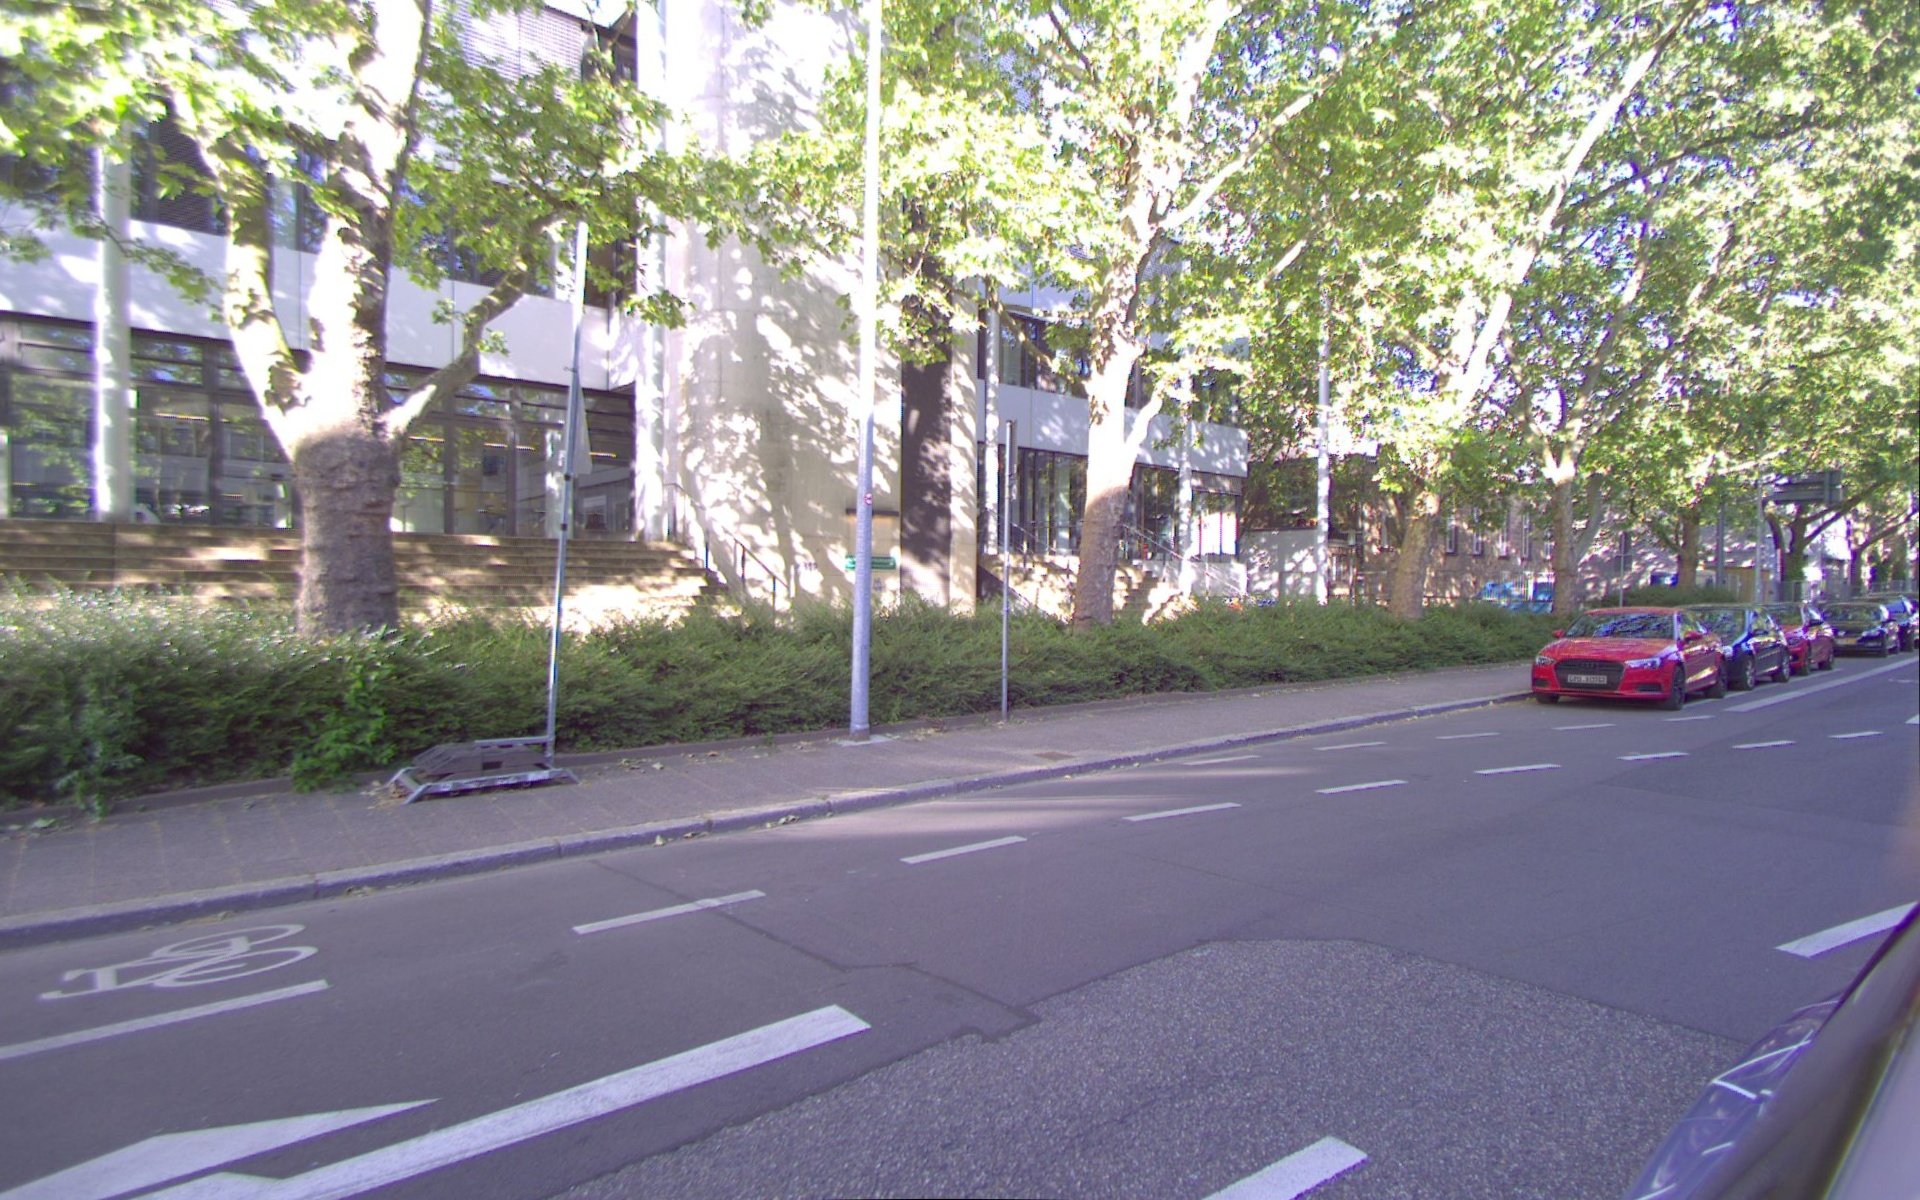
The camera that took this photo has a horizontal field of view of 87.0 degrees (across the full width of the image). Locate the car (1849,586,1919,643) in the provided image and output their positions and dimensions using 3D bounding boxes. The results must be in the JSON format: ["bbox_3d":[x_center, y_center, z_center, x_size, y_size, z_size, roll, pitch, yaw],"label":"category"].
[{"bbox_3d":[28.474,0.412,30.787,3.778,1.607,1.634,0,-1,-41],"label":"car"}]

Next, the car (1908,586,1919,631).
[{"bbox_3d":[37.827,0.306,38.905,3.778,1.675,1.634,0,-1,-41],"label":"car"}]

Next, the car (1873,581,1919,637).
[{"bbox_3d":[32.723,0.281,34.706,3.778,1.828,1.634,0,-1,-41],"label":"car"}]

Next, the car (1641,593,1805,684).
[{"bbox_3d":[13.838,0.627,18.290,3.675,1.483,1.634,0,-1,-41],"label":"car"}]

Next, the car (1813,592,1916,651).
[{"bbox_3d":[24.718,0.546,27.611,3.675,1.483,1.634,0,-1,-41],"label":"car"}]

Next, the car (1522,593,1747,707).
[{"bbox_3d":[10.231,0.651,15.248,4.053,1.483,1.802,0,-1,-41],"label":"car"}]

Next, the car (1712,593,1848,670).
[{"bbox_3d":[17.511,0.612,21.565,3.675,1.483,1.634,0,-1,-41],"label":"car"}]
